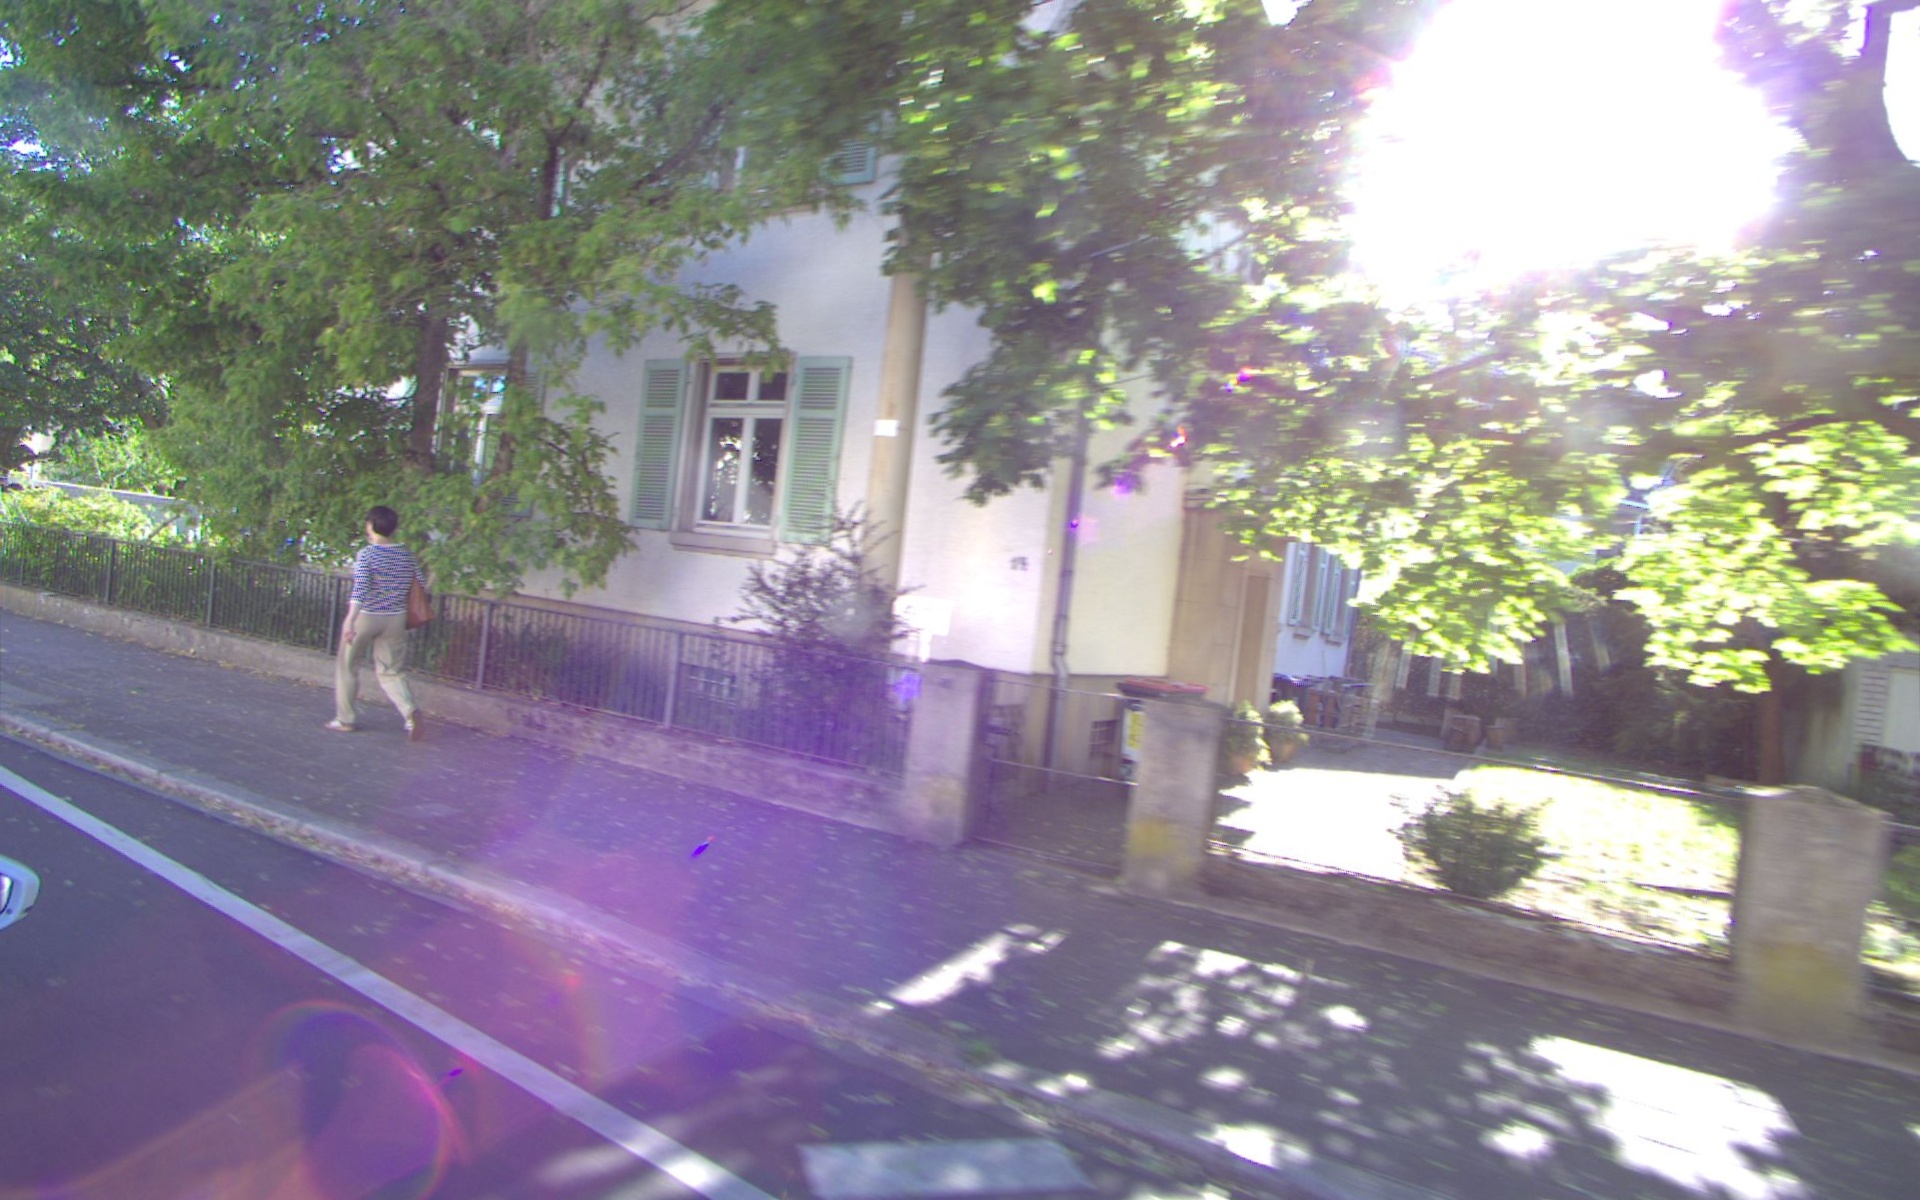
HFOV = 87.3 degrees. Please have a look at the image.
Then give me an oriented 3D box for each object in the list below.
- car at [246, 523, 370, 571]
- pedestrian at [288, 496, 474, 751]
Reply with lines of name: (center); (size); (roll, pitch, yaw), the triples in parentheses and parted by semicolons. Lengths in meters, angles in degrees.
car: (-27.353, -2.192, 42.351); (1.757, 1.466, 4.000); (7, 0, 20)
pedestrian: (-4.258, 0.160, 7.411); (0.855, 1.710, 0.719); (7, 2, 26)
